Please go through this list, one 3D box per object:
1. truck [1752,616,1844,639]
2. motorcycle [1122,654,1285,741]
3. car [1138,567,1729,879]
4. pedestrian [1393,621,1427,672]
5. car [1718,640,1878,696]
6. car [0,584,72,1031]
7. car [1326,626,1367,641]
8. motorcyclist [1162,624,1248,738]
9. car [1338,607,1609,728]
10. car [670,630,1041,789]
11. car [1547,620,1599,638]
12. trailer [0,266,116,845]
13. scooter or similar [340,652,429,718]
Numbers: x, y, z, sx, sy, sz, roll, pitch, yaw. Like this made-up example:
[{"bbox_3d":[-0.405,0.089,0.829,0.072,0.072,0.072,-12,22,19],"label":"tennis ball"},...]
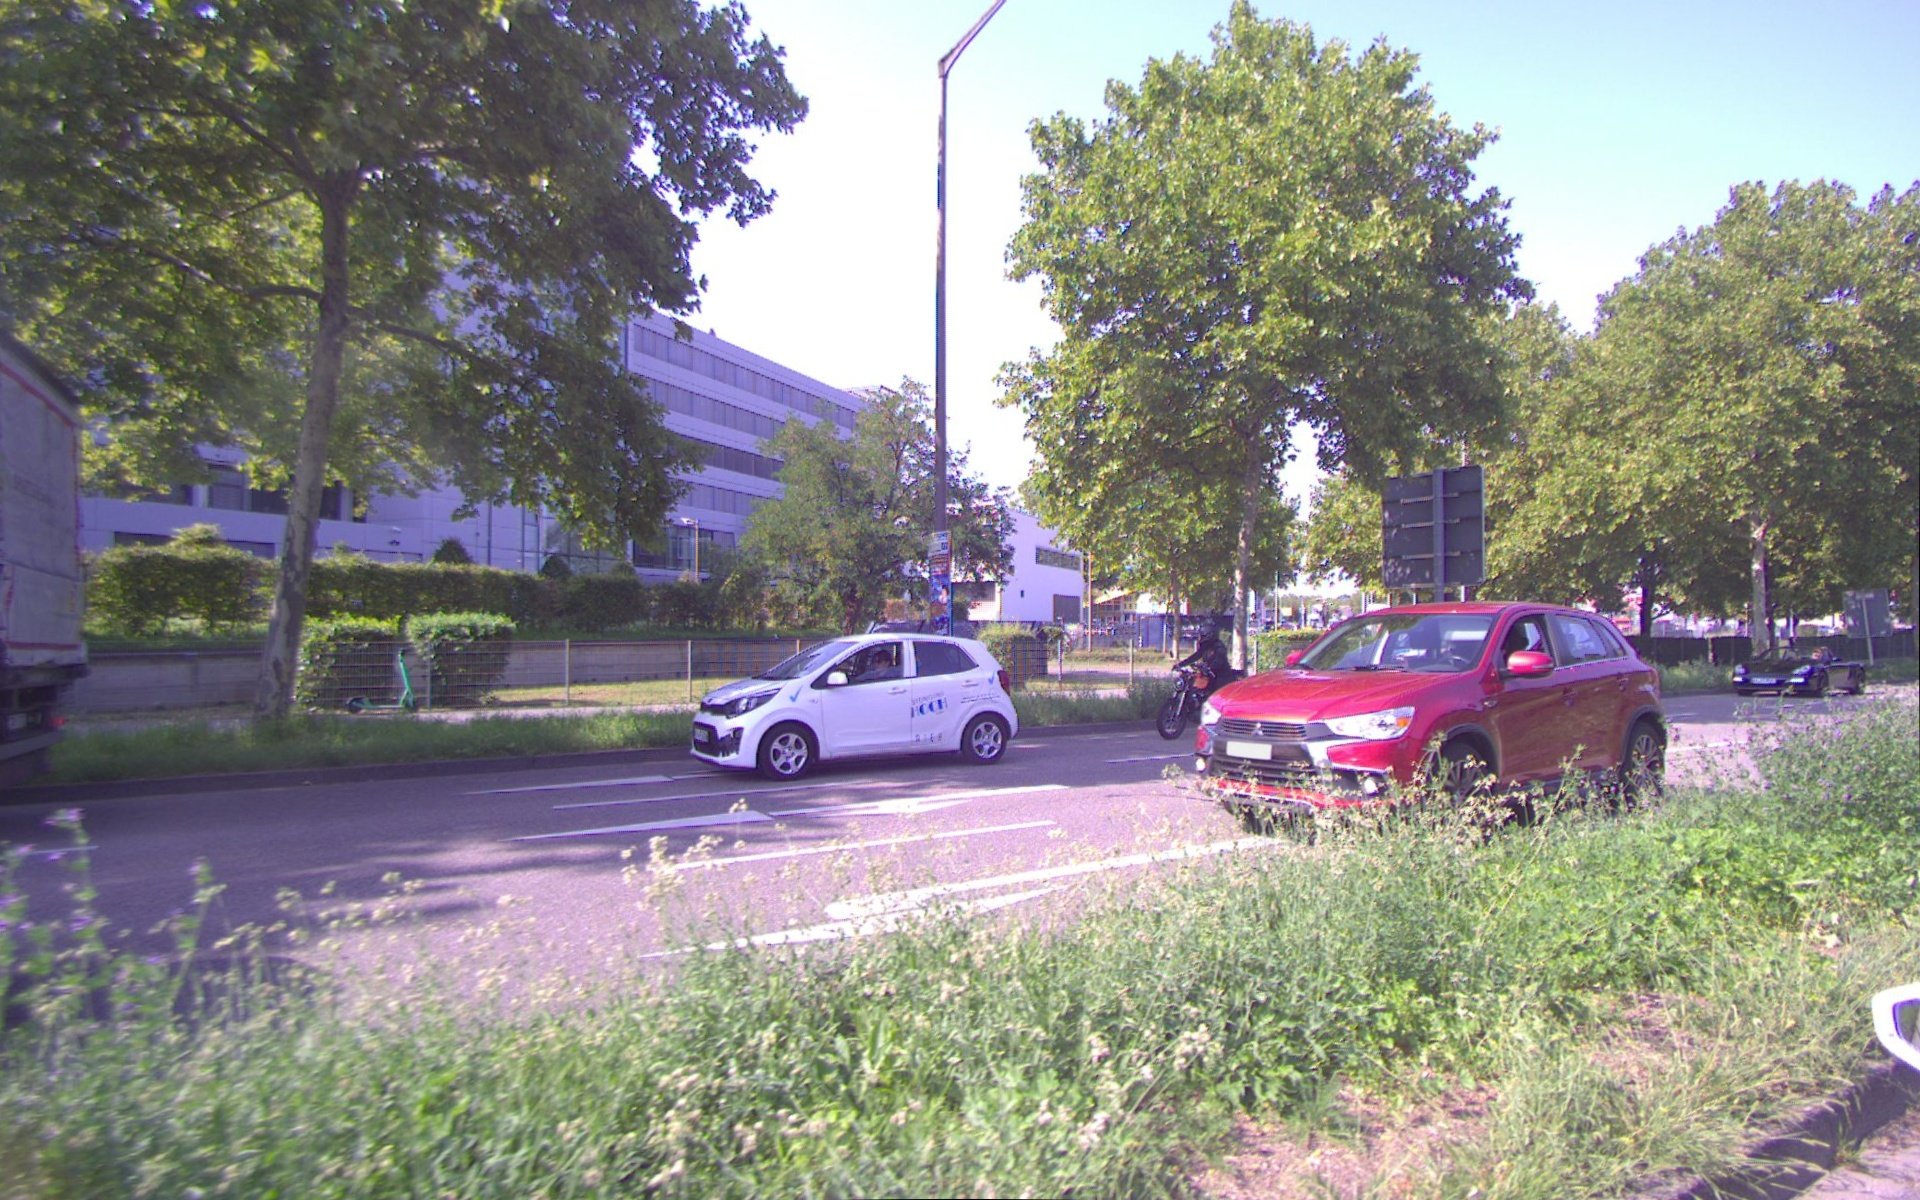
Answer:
[{"bbox_3d":[112.876,3.797,135.449,8.841,2.996,3.513,-1,-2,23],"label":"truck"},{"bbox_3d":[3.546,1.371,14.508,2.439,1.122,0.791,1,-1,-31],"label":"motorcycle"},{"bbox_3d":[3.718,0.752,7.673,4.535,1.747,1.944,1,-2,-32],"label":"car"},{"bbox_3d":[14.873,1.522,33.200,0.923,1.674,0.614,1,-1,-32],"label":"pedestrian"},{"bbox_3d":[21.054,1.663,25.214,4.046,1.279,1.783,1,-3,-30],"label":"car"},{"bbox_3d":[-5.177,0.660,2.234,4.538,1.498,1.736,1,-4,-34],"label":"car"},{"bbox_3d":[39.813,3.456,103.470,3.924,1.565,1.839,-1,-2,24],"label":"car"},{"bbox_3d":[3.533,1.139,14.503,0.912,1.574,0.774,1,-1,-31],"label":"motorcyclist"},{"bbox_3d":[9.140,1.150,17.773,4.913,1.883,1.975,1,-3,-32],"label":"car"},{"bbox_3d":[-1.132,1.111,11.280,3.786,1.498,1.738,1,-3,-31],"label":"car"},{"bbox_3d":[58.016,2.742,95.125,3.921,1.701,1.870,0,-1,20],"label":"car"},{"bbox_3d":[-12.756,-0.381,4.281,13.657,3.871,2.620,1,-3,-32],"label":"trailer"},{"bbox_3d":[-10.432,1.523,18.232,1.365,1.142,0.506,1,-1,-30],"label":"scooter or similar"}]
